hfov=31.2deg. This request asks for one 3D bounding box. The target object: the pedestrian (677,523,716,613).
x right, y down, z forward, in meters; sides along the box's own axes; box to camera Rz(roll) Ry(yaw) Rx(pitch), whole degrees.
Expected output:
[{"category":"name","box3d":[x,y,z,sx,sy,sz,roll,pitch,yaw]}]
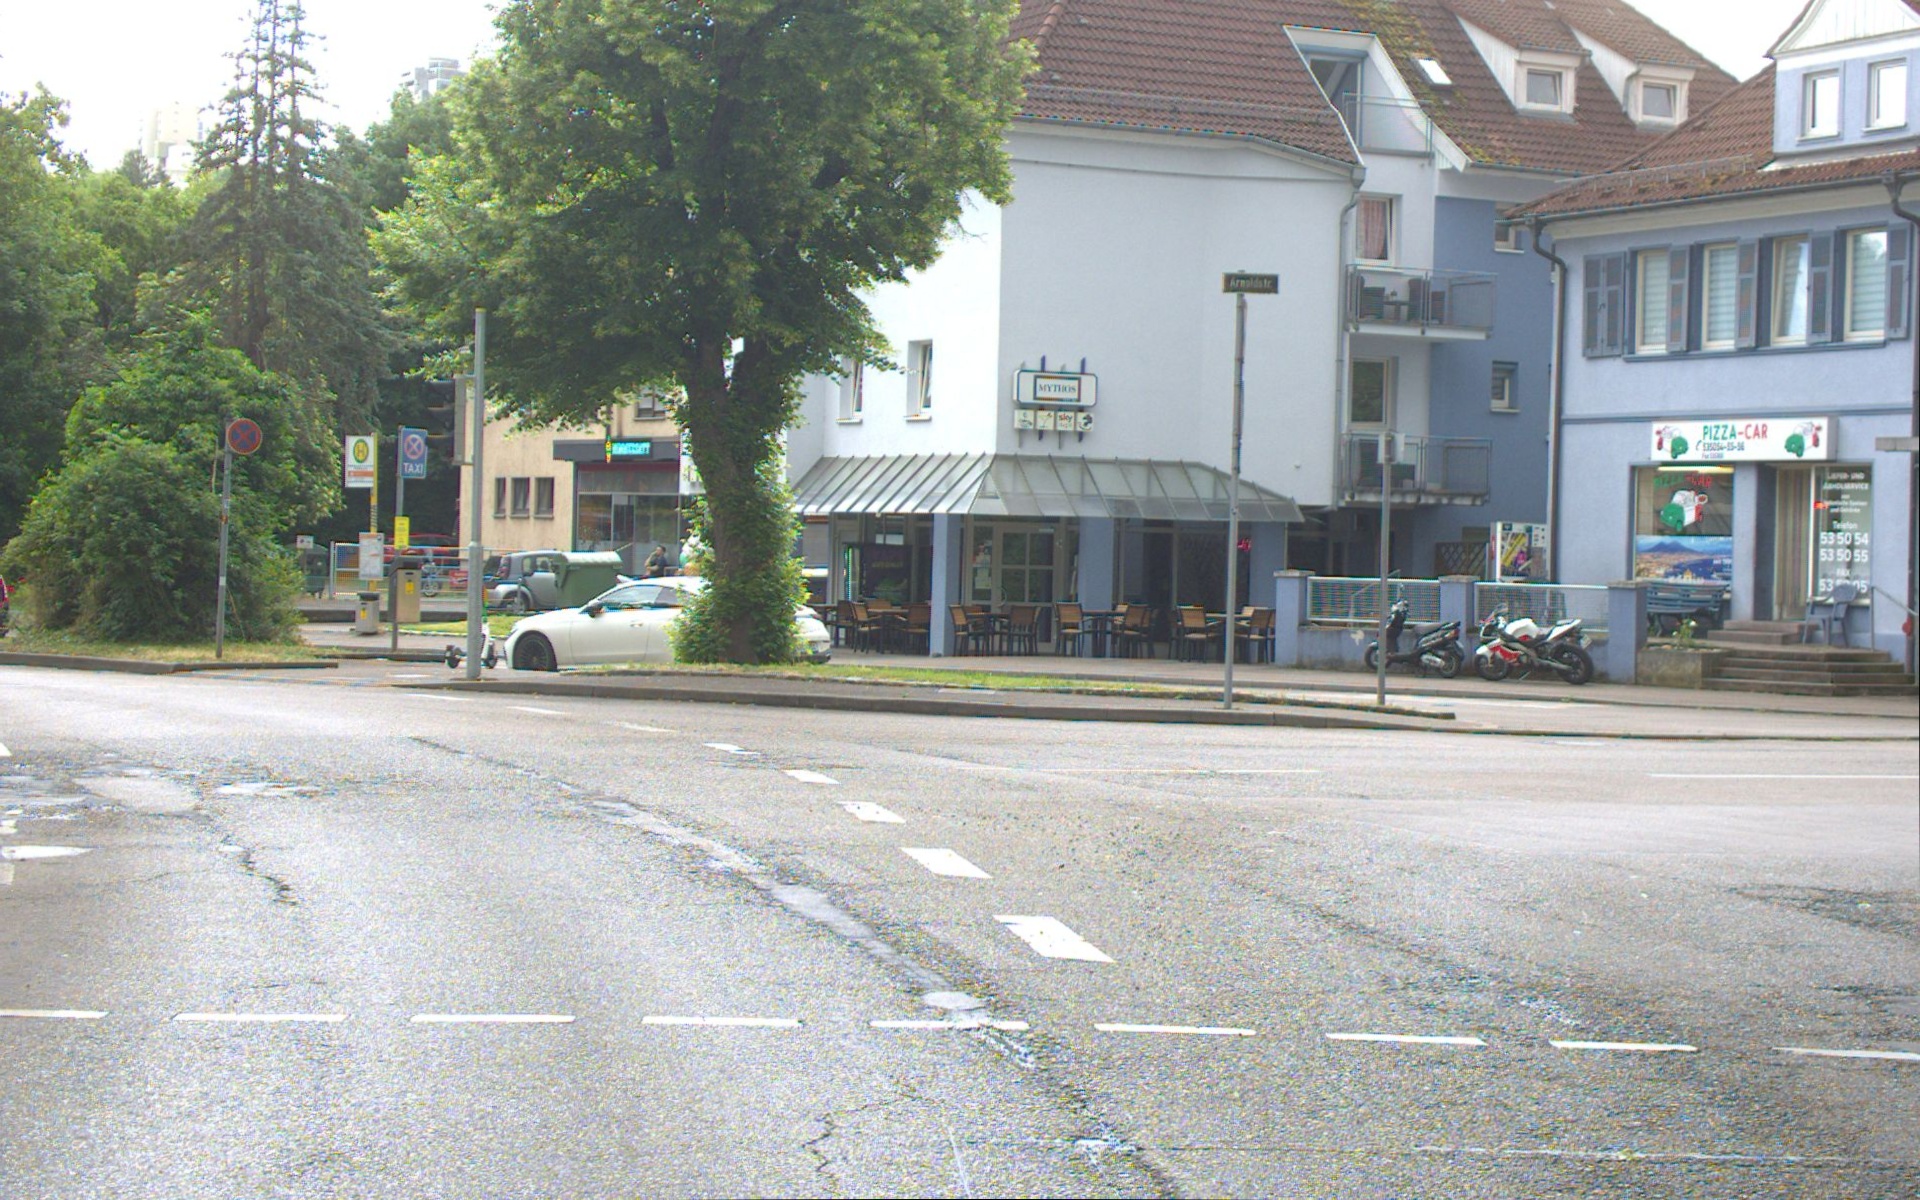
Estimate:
[{"category":"pedestrian","box3d":[-4.562,-0.554,59.447,0.543,1.554,0.467,1,0,13]}]

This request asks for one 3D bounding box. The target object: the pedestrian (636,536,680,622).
[{"category":"pedestrian","box3d":[-7.145,-0.511,81.389,0.837,2.007,1.056,1,1,-15]}]

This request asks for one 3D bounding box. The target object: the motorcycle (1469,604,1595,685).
[{"category":"motorcycle","box3d":[8.071,0.620,48.515,1.628,1.085,0.626,1,1,32]}]

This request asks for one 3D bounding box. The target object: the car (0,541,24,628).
[{"category":"car","box3d":[-16.505,-0.280,53.639,3.322,1.347,1.778,1,1,27]}]

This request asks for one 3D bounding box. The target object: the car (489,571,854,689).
[{"category":"car","box3d":[-3.880,0.373,45.896,4.709,1.405,1.899,2,1,35]}]

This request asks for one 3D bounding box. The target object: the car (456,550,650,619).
[{"category":"car","box3d":[-8.970,-0.347,75.758,3.936,1.437,1.753,1,1,-20]}]

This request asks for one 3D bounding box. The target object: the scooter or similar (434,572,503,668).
[{"category":"scooter or similar","box3d":[-6.101,0.237,42.748,0.442,1.171,1.437,1,1,9]}]

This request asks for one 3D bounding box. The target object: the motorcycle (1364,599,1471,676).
[{"category":"motorcycle","box3d":[6.693,0.546,50.283,1.458,1.085,0.523,1,1,35]}]
